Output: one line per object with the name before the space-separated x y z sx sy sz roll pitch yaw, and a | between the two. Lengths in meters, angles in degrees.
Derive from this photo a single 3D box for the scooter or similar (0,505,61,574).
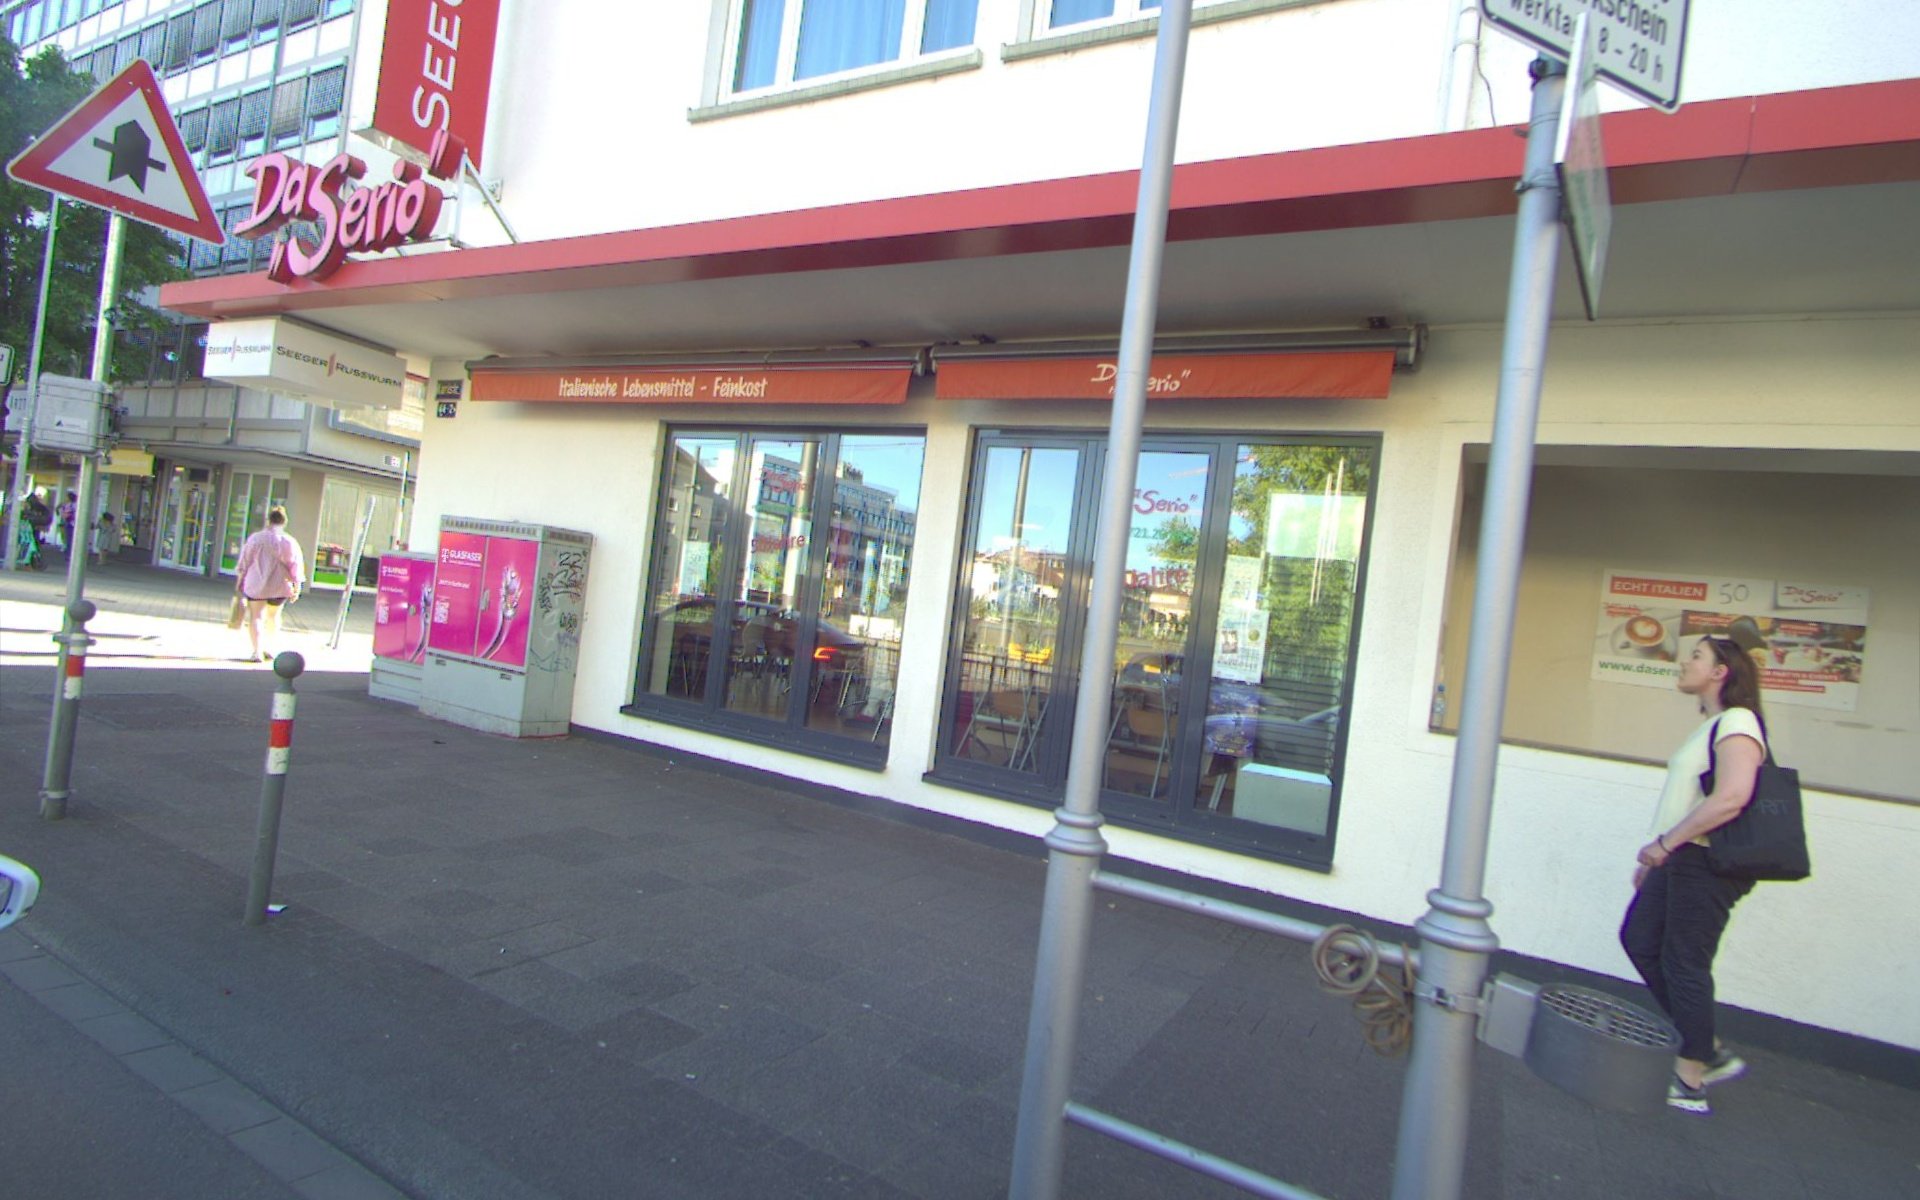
scooter or similar | -20.137 -1.304 21.334 0.683 1.332 1.415 6 -2 5

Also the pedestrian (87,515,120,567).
pedestrian | -22.498 -1.549 26.427 0.522 1.296 0.420 7 0 32

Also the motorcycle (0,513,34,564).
motorcycle | -23.575 -1.590 23.983 0.586 1.140 1.997 7 -4 30

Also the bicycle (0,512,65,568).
bicycle | -21.906 -1.435 22.968 0.475 1.134 2.056 7 -2 31

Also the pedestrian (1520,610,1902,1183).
pedestrian | 2.822 1.008 3.880 0.918 1.795 0.804 7 0 35

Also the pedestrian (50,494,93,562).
pedestrian | -22.898 -1.853 25.940 0.458 1.661 0.596 7 0 31

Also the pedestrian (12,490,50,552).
pedestrian | -26.079 -2.220 28.247 0.596 1.661 0.532 7 0 32

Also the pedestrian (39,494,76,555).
pedestrian | -25.952 -2.160 28.920 0.584 1.661 0.532 7 0 32

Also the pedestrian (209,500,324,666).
pedestrian | -7.771 -0.180 11.277 0.814 1.701 0.707 10 -3 -37
